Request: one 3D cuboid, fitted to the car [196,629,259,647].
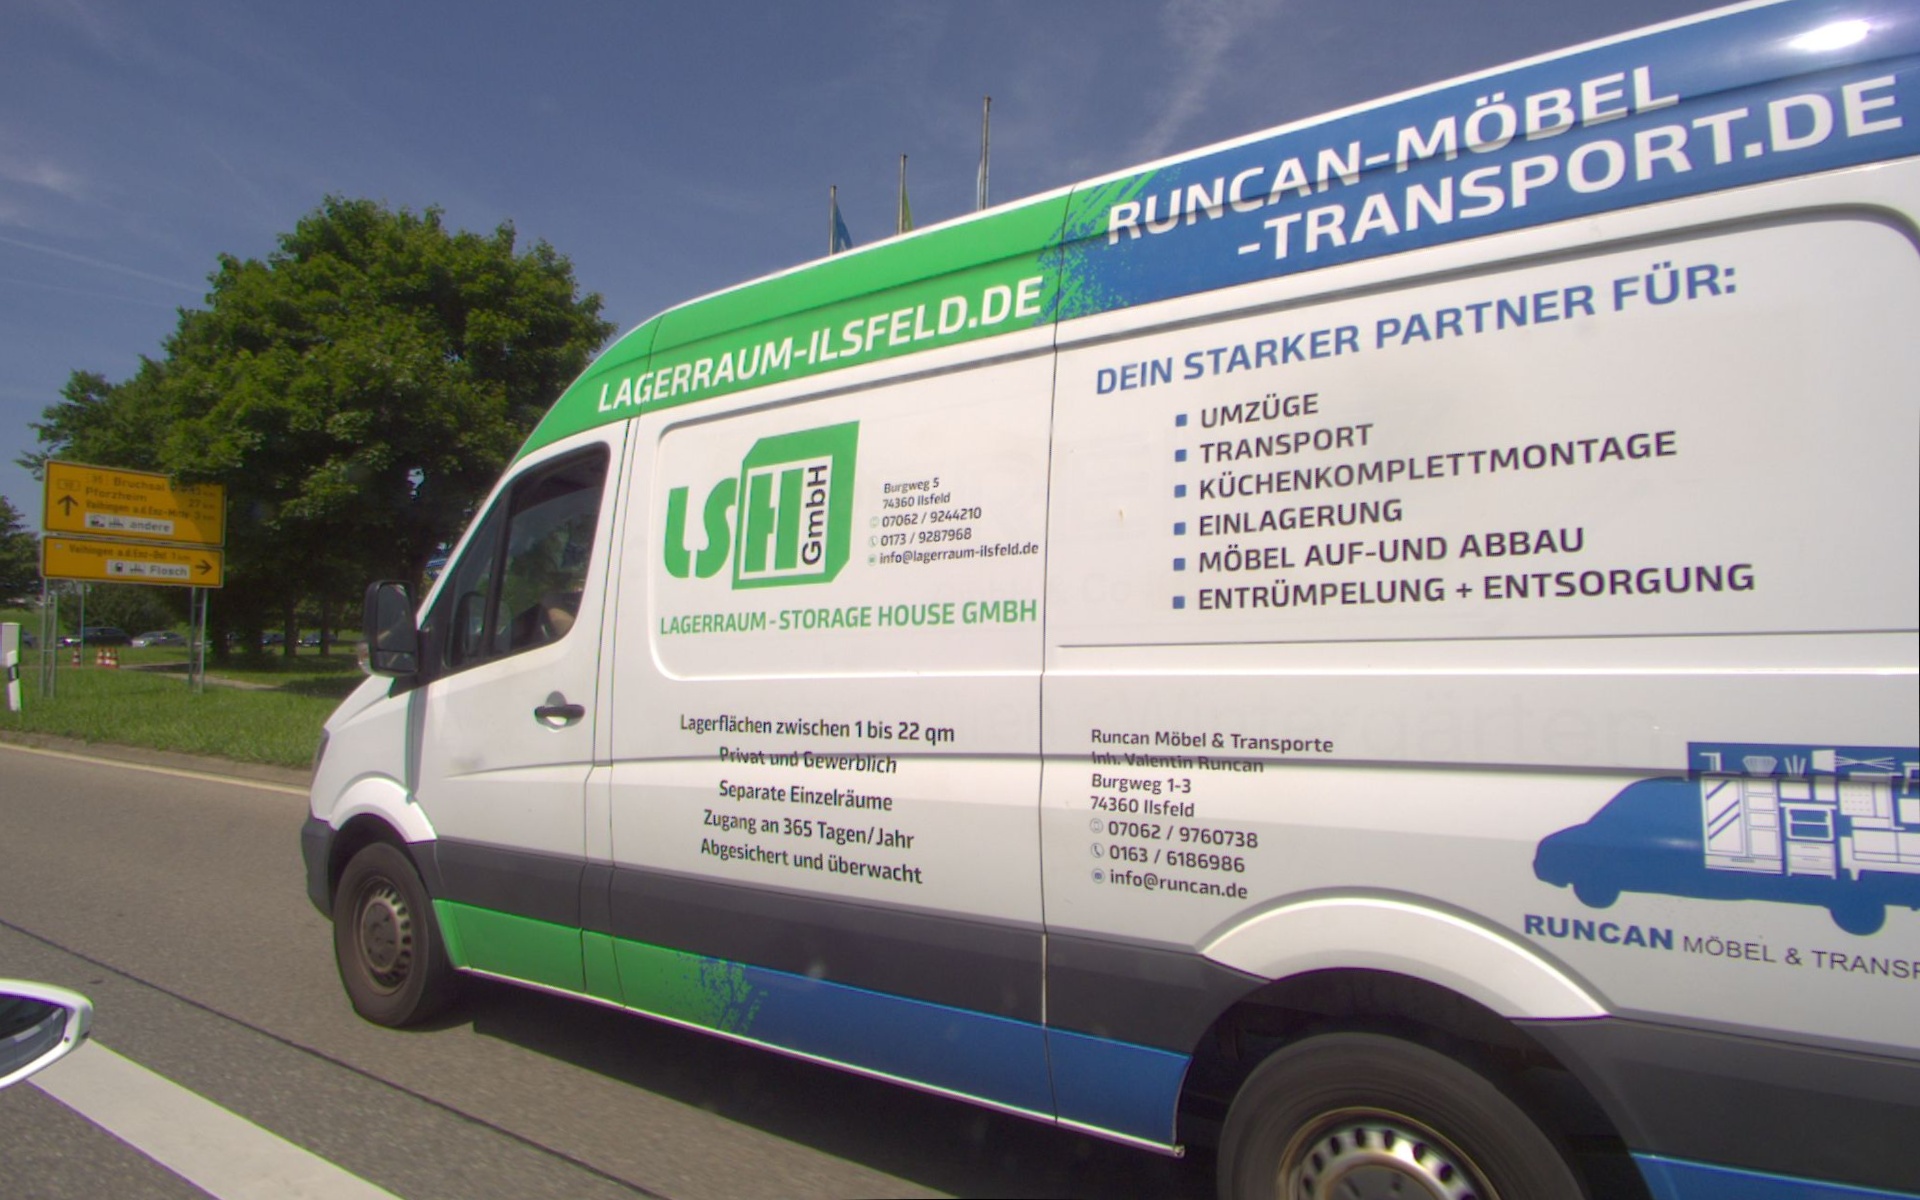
[{"bbox_3d":[-54.271,2.845,74.283,1.766,1.289,4.563,0,-2,-7],"label":"car"}]

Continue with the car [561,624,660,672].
[{"bbox_3d":[-12.971,1.746,37.023,1.978,1.642,4.592,1,-2,-40],"label":"car"}]

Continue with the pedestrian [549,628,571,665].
[{"bbox_3d":[-16.544,1.911,41.437,0.660,1.516,0.716,1,-2,-39],"label":"pedestrian"}]

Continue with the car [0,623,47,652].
[{"bbox_3d":[-53.446,2.068,55.205,1.766,1.528,4.564,-1,-3,7],"label":"car"}]

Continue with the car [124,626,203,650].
[{"bbox_3d":[-53.707,2.582,67.646,1.766,1.529,4.565,0,-2,-1],"label":"car"}]

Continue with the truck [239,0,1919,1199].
[{"bbox_3d":[-0.022,0.137,3.548,5.858,2.772,2.063,-1,-2,32],"label":"truck"}]

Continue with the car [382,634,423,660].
[{"bbox_3d":[-30.501,2.560,54.879,1.733,1.380,4.304,1,-2,-27],"label":"car"}]

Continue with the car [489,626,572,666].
[{"bbox_3d":[-18.637,1.954,43.308,2.017,1.623,4.900,1,-2,-40],"label":"car"}]

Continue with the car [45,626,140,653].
[{"bbox_3d":[-53.088,2.464,61.393,1.766,1.528,4.567,0,-4,0],"label":"car"}]

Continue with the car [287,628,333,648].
[{"bbox_3d":[-57.061,3.321,87.994,1.963,1.719,4.290,0,-2,-12],"label":"car"}]
